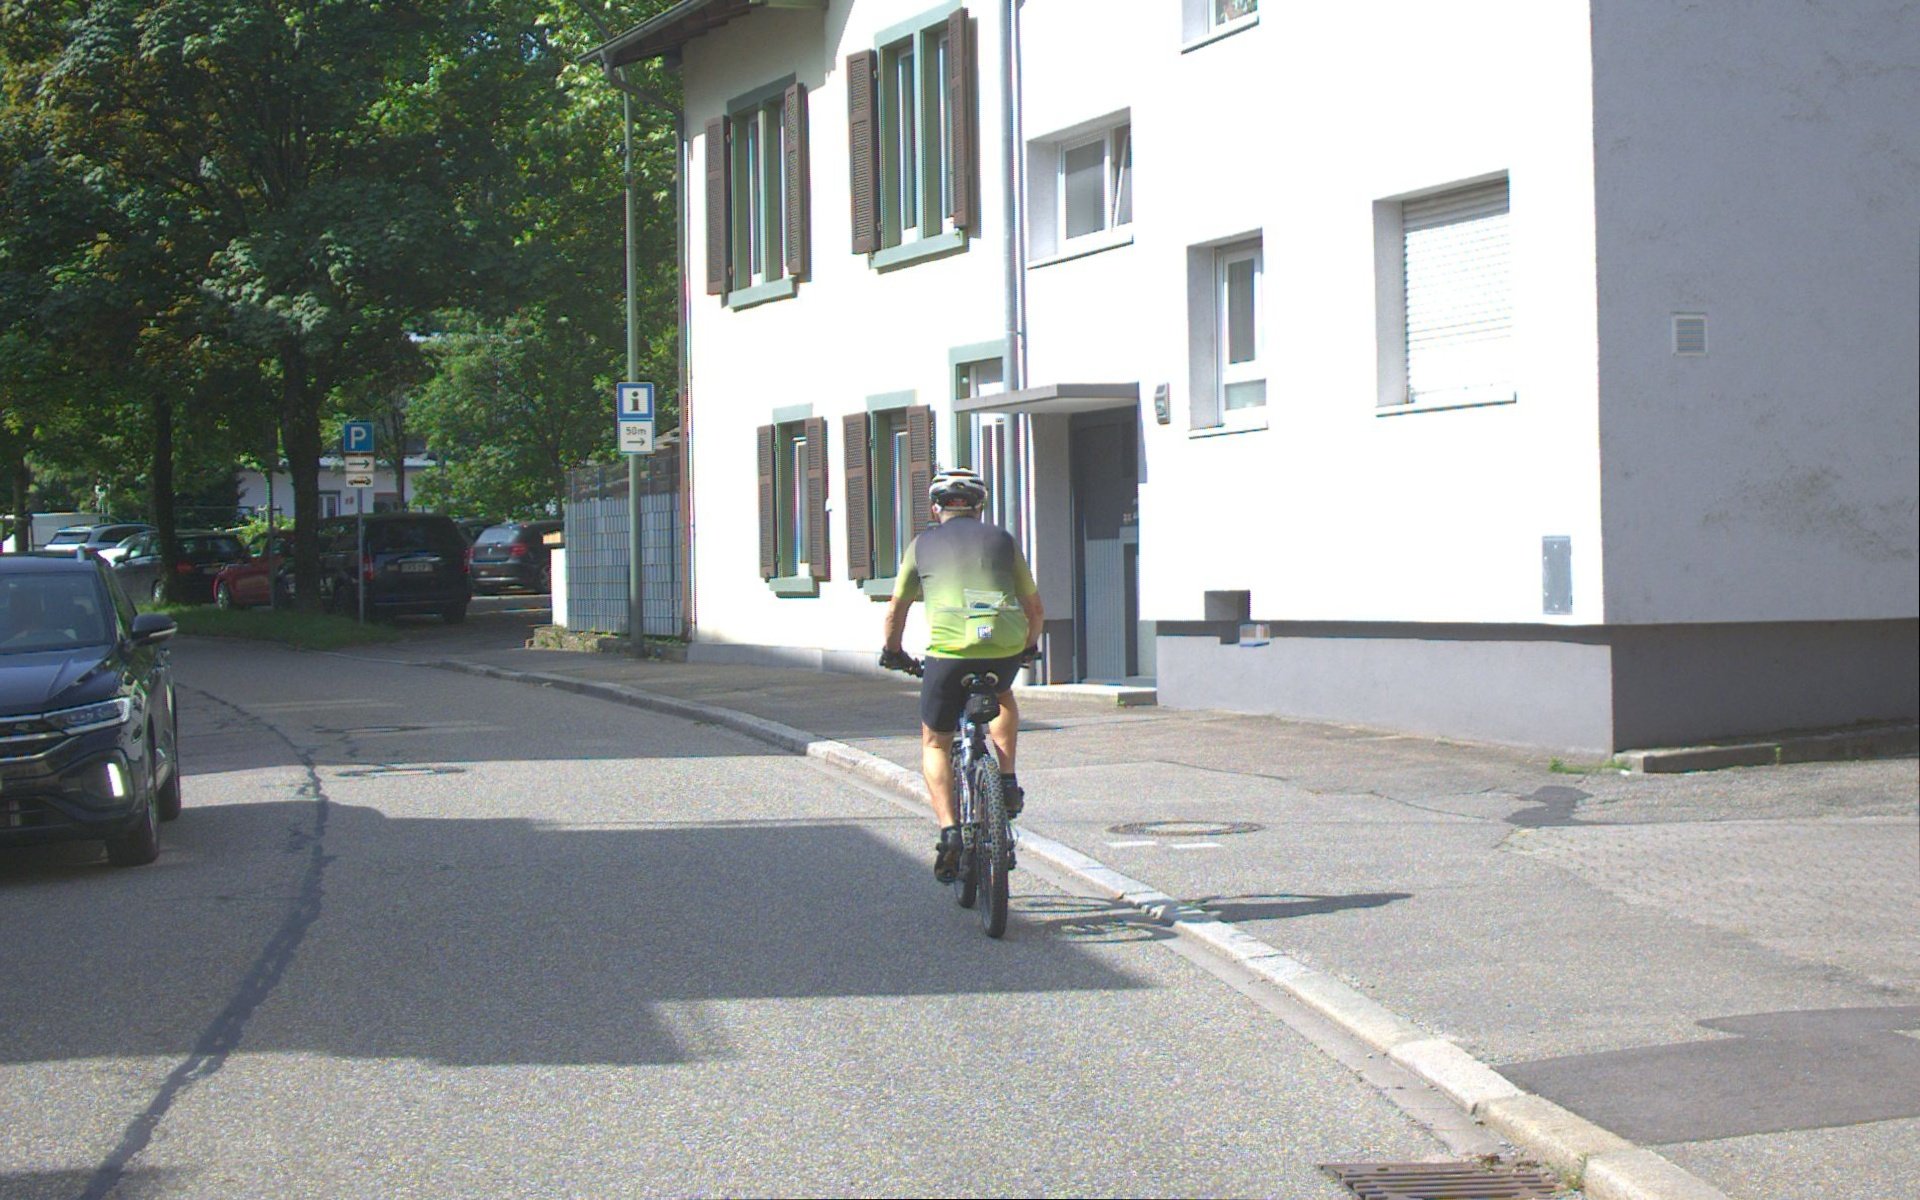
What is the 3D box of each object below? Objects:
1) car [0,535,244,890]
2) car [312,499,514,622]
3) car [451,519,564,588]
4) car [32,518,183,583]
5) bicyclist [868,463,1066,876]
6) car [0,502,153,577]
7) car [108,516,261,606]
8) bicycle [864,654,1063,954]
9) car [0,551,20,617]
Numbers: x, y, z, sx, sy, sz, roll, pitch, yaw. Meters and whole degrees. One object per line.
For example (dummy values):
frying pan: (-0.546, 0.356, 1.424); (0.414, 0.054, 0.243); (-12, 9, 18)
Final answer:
car: (-4.862, 0.517, 17.477); (1.823, 1.532, 4.001); (-4, 2, -5)
car: (-8.605, -0.656, 53.837); (1.822, 1.785, 4.001); (-2, 3, -29)
car: (-8.890, -0.924, 67.381); (1.582, 1.253, 3.859); (-2, 2, -16)
car: (-20.839, -1.229, 84.182); (1.811, 1.546, 3.997); (0, 1, 16)
bicyclist: (0.017, 0.255, 13.221); (0.685, 1.526, 0.716); (-2, 0, -2)
car: (-23.008, -1.556, 87.704); (1.997, 1.848, 4.692); (0, 1, 31)
car: (-14.597, -0.757, 64.574); (1.708, 1.537, 4.001); (-2, 3, -29)
bicycle: (-0.009, 0.754, 13.231); (0.698, 1.032, 1.471); (0, 1, -2)
car: (-22.619, -0.362, 77.078); (1.673, 1.463, 3.409); (-2, 1, -40)
